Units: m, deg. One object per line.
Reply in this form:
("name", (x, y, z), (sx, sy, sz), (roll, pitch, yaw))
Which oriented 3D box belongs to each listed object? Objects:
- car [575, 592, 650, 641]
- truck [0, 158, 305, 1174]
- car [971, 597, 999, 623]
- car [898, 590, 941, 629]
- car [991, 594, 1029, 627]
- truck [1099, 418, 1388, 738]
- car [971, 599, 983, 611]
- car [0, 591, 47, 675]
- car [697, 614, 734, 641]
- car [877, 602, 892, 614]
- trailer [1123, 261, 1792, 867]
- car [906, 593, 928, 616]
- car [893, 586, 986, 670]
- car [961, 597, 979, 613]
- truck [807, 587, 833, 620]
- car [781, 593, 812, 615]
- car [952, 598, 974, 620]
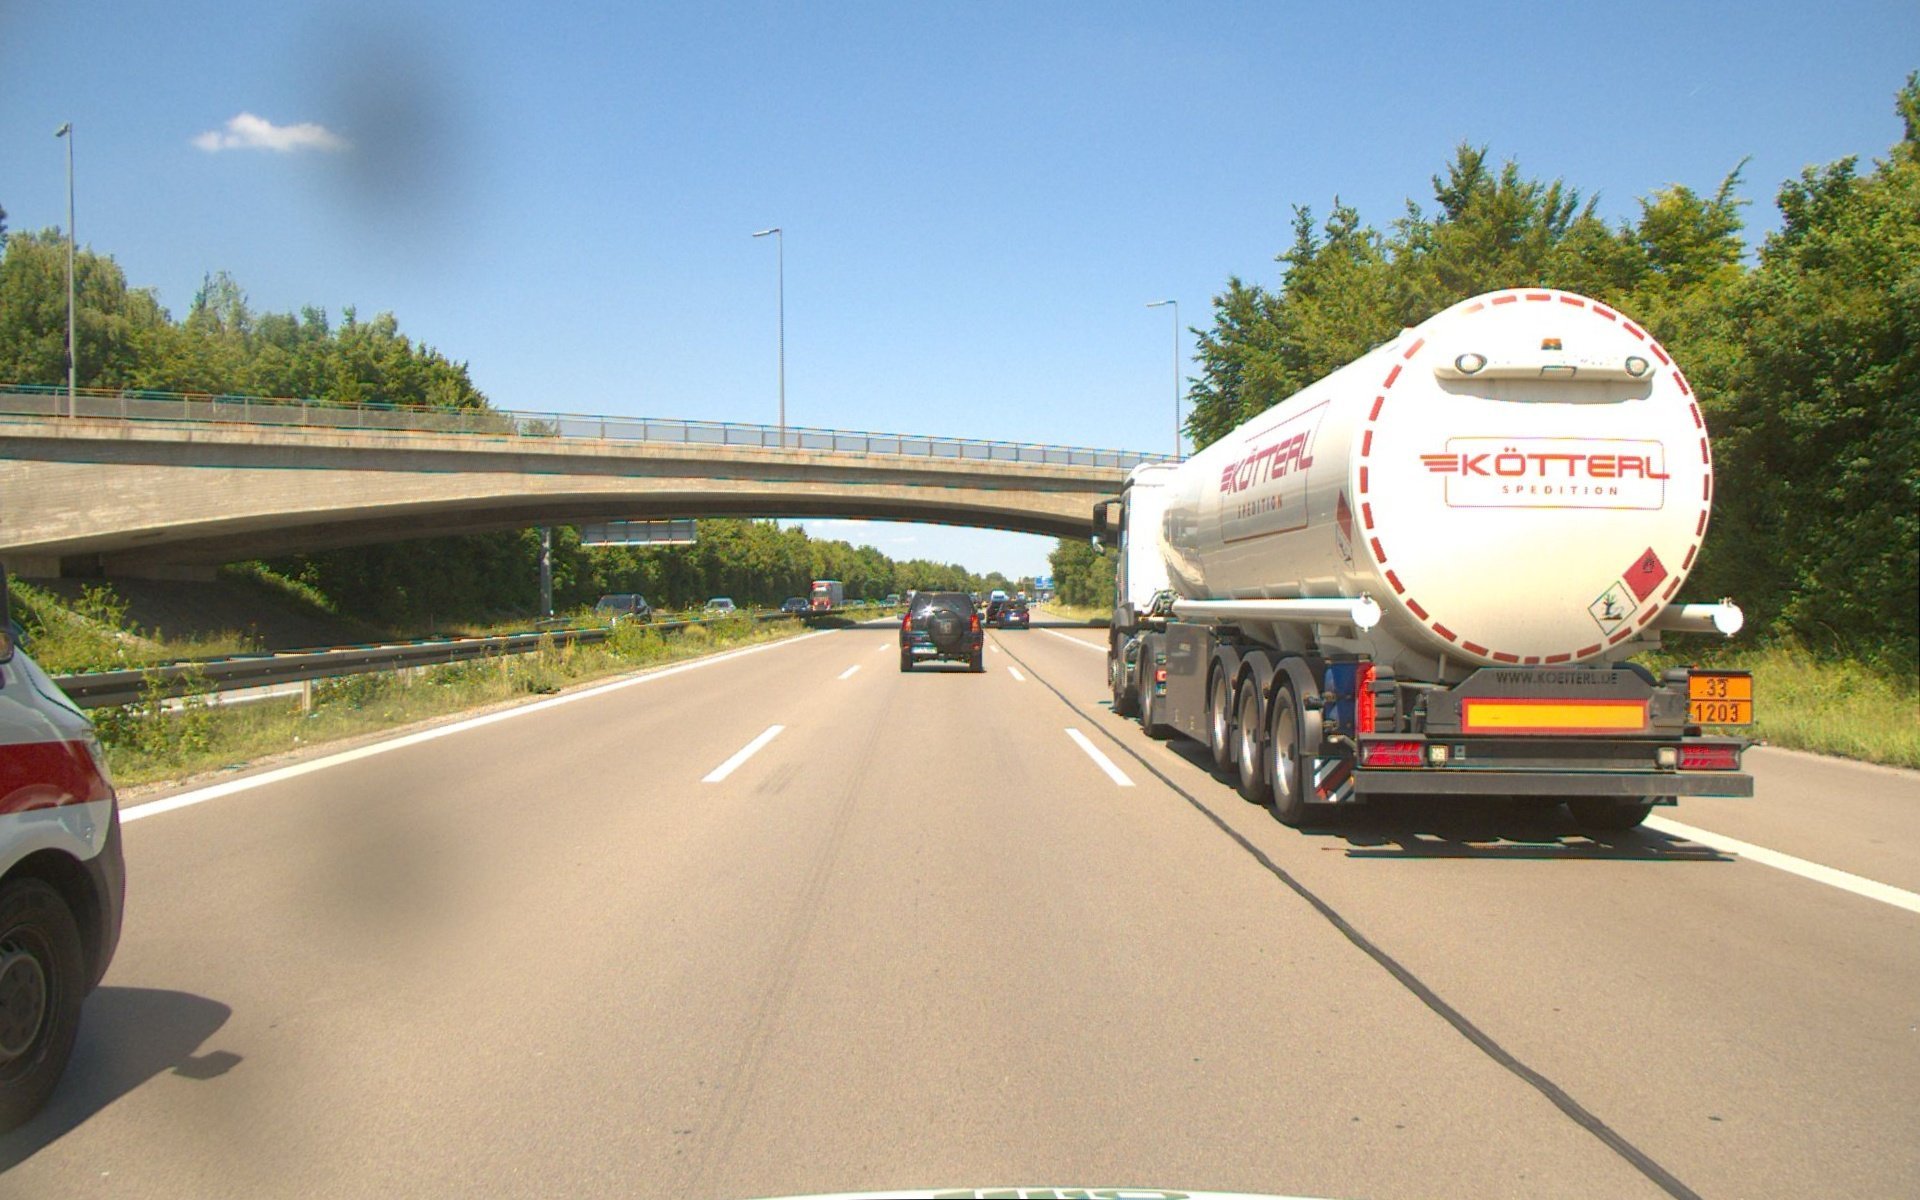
("car", (-12.494, 0.574, 59.695), (1.760, 1.695, 4.129), (-1, 0, 1))
("truck", (-3.410, 0.163, 2.767), (1.953, 2.587, 6.691), (1, 0, 0))
("car", (1.621, 0.691, 108.145), (1.805, 1.640, 3.999), (0, -1, 0))
("car", (-1.890, 0.458, 78.456), (1.953, 1.736, 4.335), (-1, 0, -1))
("car", (2.683, 0.565, 89.033), (1.952, 1.713, 4.000), (0, -1, 0))
("truck", (3.341, -0.235, 21.140), (2.584, 3.434, 6.487), (1, 0, 0))
("car", (2.625, 0.703, 254.875), (1.775, 1.777, 3.999), (-1, 0, -2))
("car", (-19.055, 0.671, 30.751), (1.760, 1.581, 4.129), (-3, 0, 1))
("car", (-15.562, 1.741, 105.449), (1.861, 1.669, 3.999), (0, -1, -1))
("car", (-10.600, 1.119, 232.296), (1.843, 1.509, 4.434), (-1, 0, 0))
("trailer", (3.406, -0.200, 15.041), (2.594, 3.449, 11.149), (0, 0, -1))
("car", (-3.948, 0.431, 153.572), (1.953, 2.049, 4.949), (-1, 0, -1))
("car", (-0.490, 0.573, 35.496), (1.868, 1.694, 3.998), (0, 0, -2))
("car", (1.106, 0.563, 192.261), (1.953, 1.780, 4.204), (-1, 0, -1))
("truck", (-18.497, 0.413, 218.320), (2.728, 4.131, 6.210), (-2, 0, 0))
("car", (-11.889, 0.282, 120.749), (1.822, 1.554, 4.750), (-1, 0, 0))
("car", (0.284, 0.825, 157.575), (1.953, 2.049, 4.767), (-1, 0, -1))
